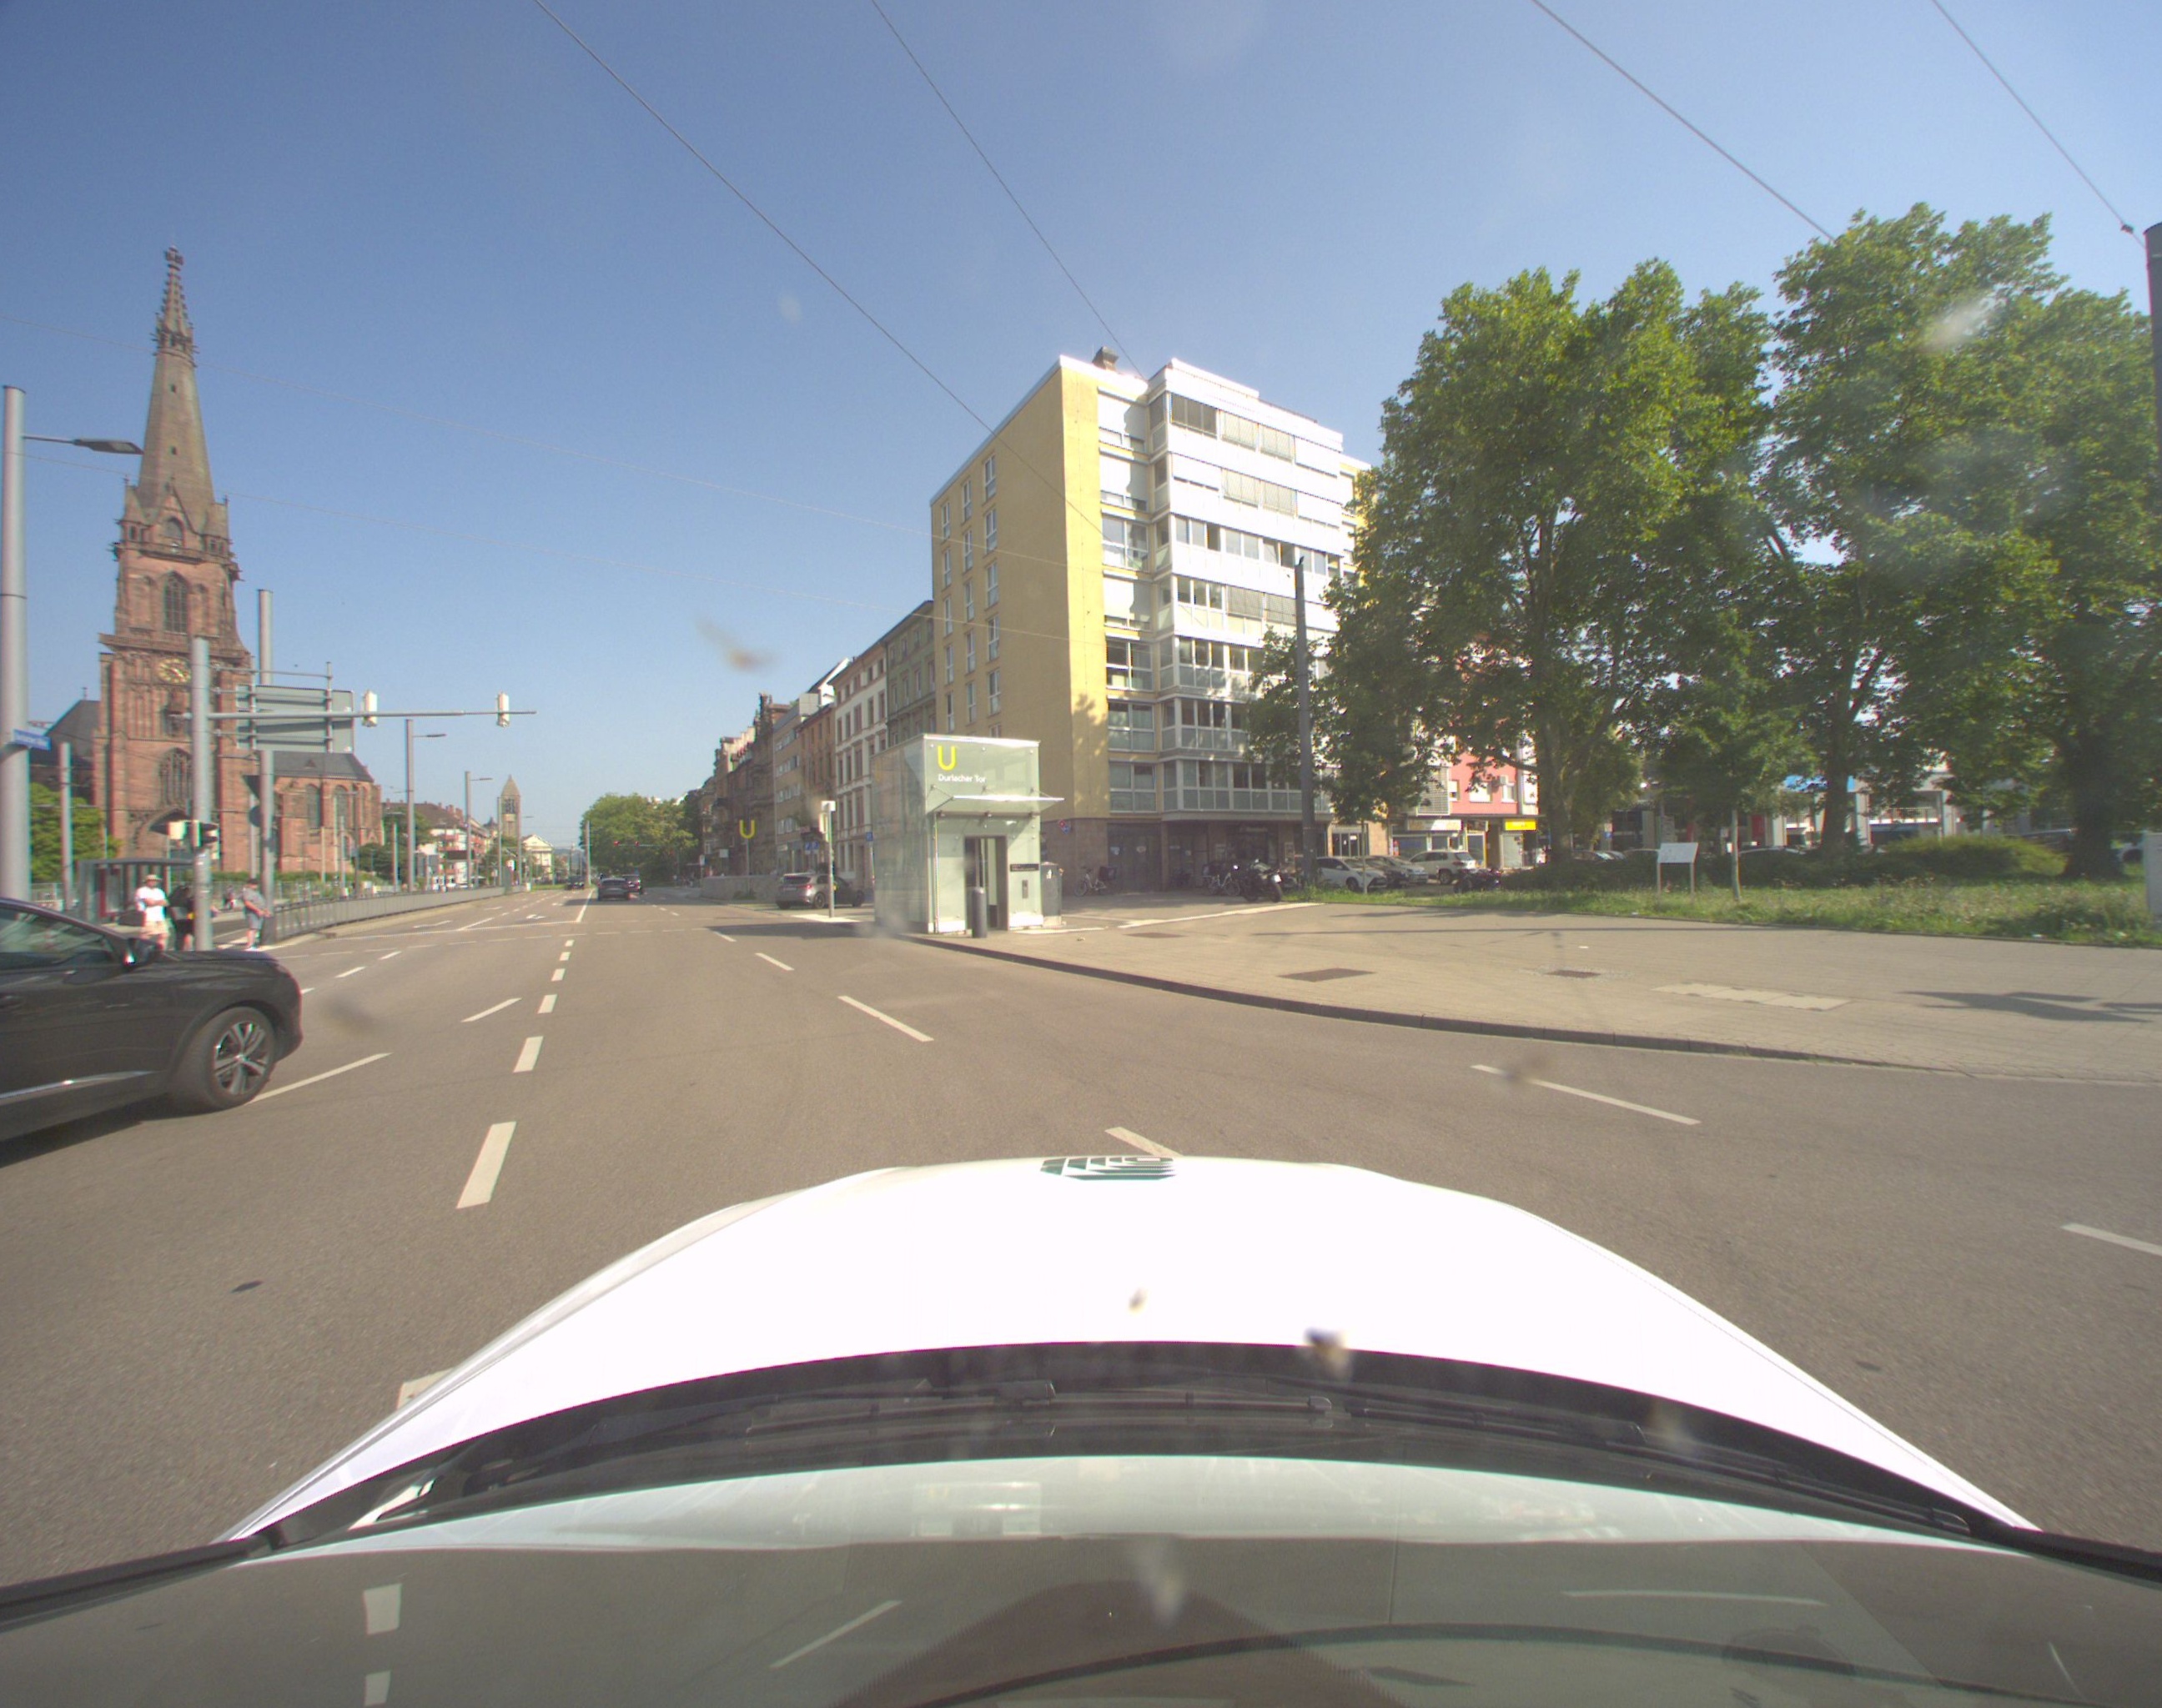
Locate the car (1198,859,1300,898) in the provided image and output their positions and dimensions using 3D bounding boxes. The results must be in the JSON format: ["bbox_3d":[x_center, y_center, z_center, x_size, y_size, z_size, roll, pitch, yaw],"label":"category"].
[{"bbox_3d":[6.715,0.964,32.923,1.667,1.441,4.153,-1,-1,-30],"label":"car"}]

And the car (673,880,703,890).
[{"bbox_3d":[-66.571,5.177,137.970,4.212,1.563,1.978,-1,-1,-36],"label":"car"}]

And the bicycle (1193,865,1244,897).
[{"bbox_3d":[5.386,1.055,32.072,0.526,1.235,2.276,-1,-1,-35],"label":"bicycle"}]

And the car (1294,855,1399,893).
[{"bbox_3d":[11.407,0.841,35.263,2.006,1.507,3.961,-1,-1,-30],"label":"car"}]

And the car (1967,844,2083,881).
[{"bbox_3d":[54.851,0.481,47.434,1.937,2.014,3.993,-1,-1,-5],"label":"car"}]

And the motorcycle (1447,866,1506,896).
[{"bbox_3d":[13.789,0.935,28.452,0.704,1.001,1.946,-1,-1,-15],"label":"motorcycle"}]

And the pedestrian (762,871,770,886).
[{"bbox_3d":[-35.428,2.737,91.589,0.608,1.692,0.581,-1,-1,-35],"label":"pedestrian"}]

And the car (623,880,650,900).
[{"bbox_3d":[-37.744,3.061,69.143,1.843,1.621,4.314,1,-2,-31],"label":"car"}]

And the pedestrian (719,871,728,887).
[{"bbox_3d":[-37.514,2.631,85.430,0.755,1.729,0.792,-1,-1,-35],"label":"pedestrian"}]

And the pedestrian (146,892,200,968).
[{"bbox_3d":[-20.032,1.657,17.977,0.637,1.597,0.463,-4,0,-33],"label":"pedestrian"}]

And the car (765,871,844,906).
[{"bbox_3d":[-12.567,1.559,37.233,1.605,1.464,3.544,-2,-1,17],"label":"car"}]

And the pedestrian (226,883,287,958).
[{"bbox_3d":[-19.716,1.563,19.496,0.819,1.692,0.645,-4,0,-31],"label":"pedestrian"}]

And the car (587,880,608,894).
[{"bbox_3d":[-52.453,3.538,88.368,1.876,1.425,4.314,1,-2,-31],"label":"car"}]

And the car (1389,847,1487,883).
[{"bbox_3d":[17.400,0.560,39.857,2.006,1.644,3.961,-1,-1,-30],"label":"car"}]

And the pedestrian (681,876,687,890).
[{"bbox_3d":[-49.775,3.639,102.119,0.484,1.702,0.695,-1,-1,-34],"label":"pedestrian"}]

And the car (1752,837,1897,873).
[{"bbox_3d":[30.209,0.066,33.192,2.007,1.376,3.959,-1,-1,-32],"label":"car"}]

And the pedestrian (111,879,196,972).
[{"bbox_3d":[-19.060,1.445,16.755,0.836,1.788,0.723,-4,0,-24],"label":"pedestrian"}]

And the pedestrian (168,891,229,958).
[{"bbox_3d":[-21.509,1.704,19.873,0.813,1.547,0.542,-4,0,-30],"label":"pedestrian"}]

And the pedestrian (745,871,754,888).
[{"bbox_3d":[-36.779,2.838,90.362,0.724,1.787,0.848,-1,-1,-30],"label":"pedestrian"}]

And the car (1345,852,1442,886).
[{"bbox_3d":[14.928,0.741,39.088,2.006,1.507,3.961,-1,-1,-30],"label":"car"}]

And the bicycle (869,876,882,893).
[{"bbox_3d":[-14.241,2.104,56.303,0.386,1.134,1.702,-1,-1,-31],"label":"bicycle"}]

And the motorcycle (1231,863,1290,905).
[{"bbox_3d":[5.248,0.854,24.010,0.704,1.147,2.289,-1,-1,-15],"label":"motorcycle"}]

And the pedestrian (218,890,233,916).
[{"bbox_3d":[-56.430,3.226,53.719,0.521,1.701,0.658,-1,-1,-32],"label":"pedestrian"}]

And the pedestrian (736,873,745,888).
[{"bbox_3d":[-37.581,2.923,89.911,0.724,1.610,0.848,-1,-1,-30],"label":"pedestrian"}]

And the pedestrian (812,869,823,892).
[{"bbox_3d":[-19.401,1.966,59.964,0.612,1.629,0.730,-1,-1,-31],"label":"pedestrian"}]

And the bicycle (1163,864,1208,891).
[{"bbox_3d":[4.781,1.062,37.120,2.030,1.184,0.664,-2,-1,-32],"label":"bicycle"}]

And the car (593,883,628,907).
[{"bbox_3d":[-30.357,2.588,52.533,1.876,1.425,4.314,1,-2,-31],"label":"car"}]

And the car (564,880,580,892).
[{"bbox_3d":[-66.252,4.168,105.951,1.752,1.527,3.834,-1,-1,-32],"label":"car"}]

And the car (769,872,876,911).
[{"bbox_3d":[-10.470,1.504,33.391,1.826,1.423,4.431,-2,-1,20],"label":"car"}]

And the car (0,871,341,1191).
[{"bbox_3d":[-6.544,0.938,4.055,1.991,1.621,4.348,-1,-1,-6],"label":"car"}]

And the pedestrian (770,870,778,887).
[{"bbox_3d":[-32.207,2.571,85.381,0.608,1.832,0.734,-1,-1,-35],"label":"pedestrian"}]

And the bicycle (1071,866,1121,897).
[{"bbox_3d":[0.647,1.150,34.163,2.030,1.206,0.664,-2,-1,-32],"label":"bicycle"}]

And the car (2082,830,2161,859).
[{"bbox_3d":[54.820,-0.499,41.745,4.020,1.462,2.007,-1,-1,12],"label":"car"}]
